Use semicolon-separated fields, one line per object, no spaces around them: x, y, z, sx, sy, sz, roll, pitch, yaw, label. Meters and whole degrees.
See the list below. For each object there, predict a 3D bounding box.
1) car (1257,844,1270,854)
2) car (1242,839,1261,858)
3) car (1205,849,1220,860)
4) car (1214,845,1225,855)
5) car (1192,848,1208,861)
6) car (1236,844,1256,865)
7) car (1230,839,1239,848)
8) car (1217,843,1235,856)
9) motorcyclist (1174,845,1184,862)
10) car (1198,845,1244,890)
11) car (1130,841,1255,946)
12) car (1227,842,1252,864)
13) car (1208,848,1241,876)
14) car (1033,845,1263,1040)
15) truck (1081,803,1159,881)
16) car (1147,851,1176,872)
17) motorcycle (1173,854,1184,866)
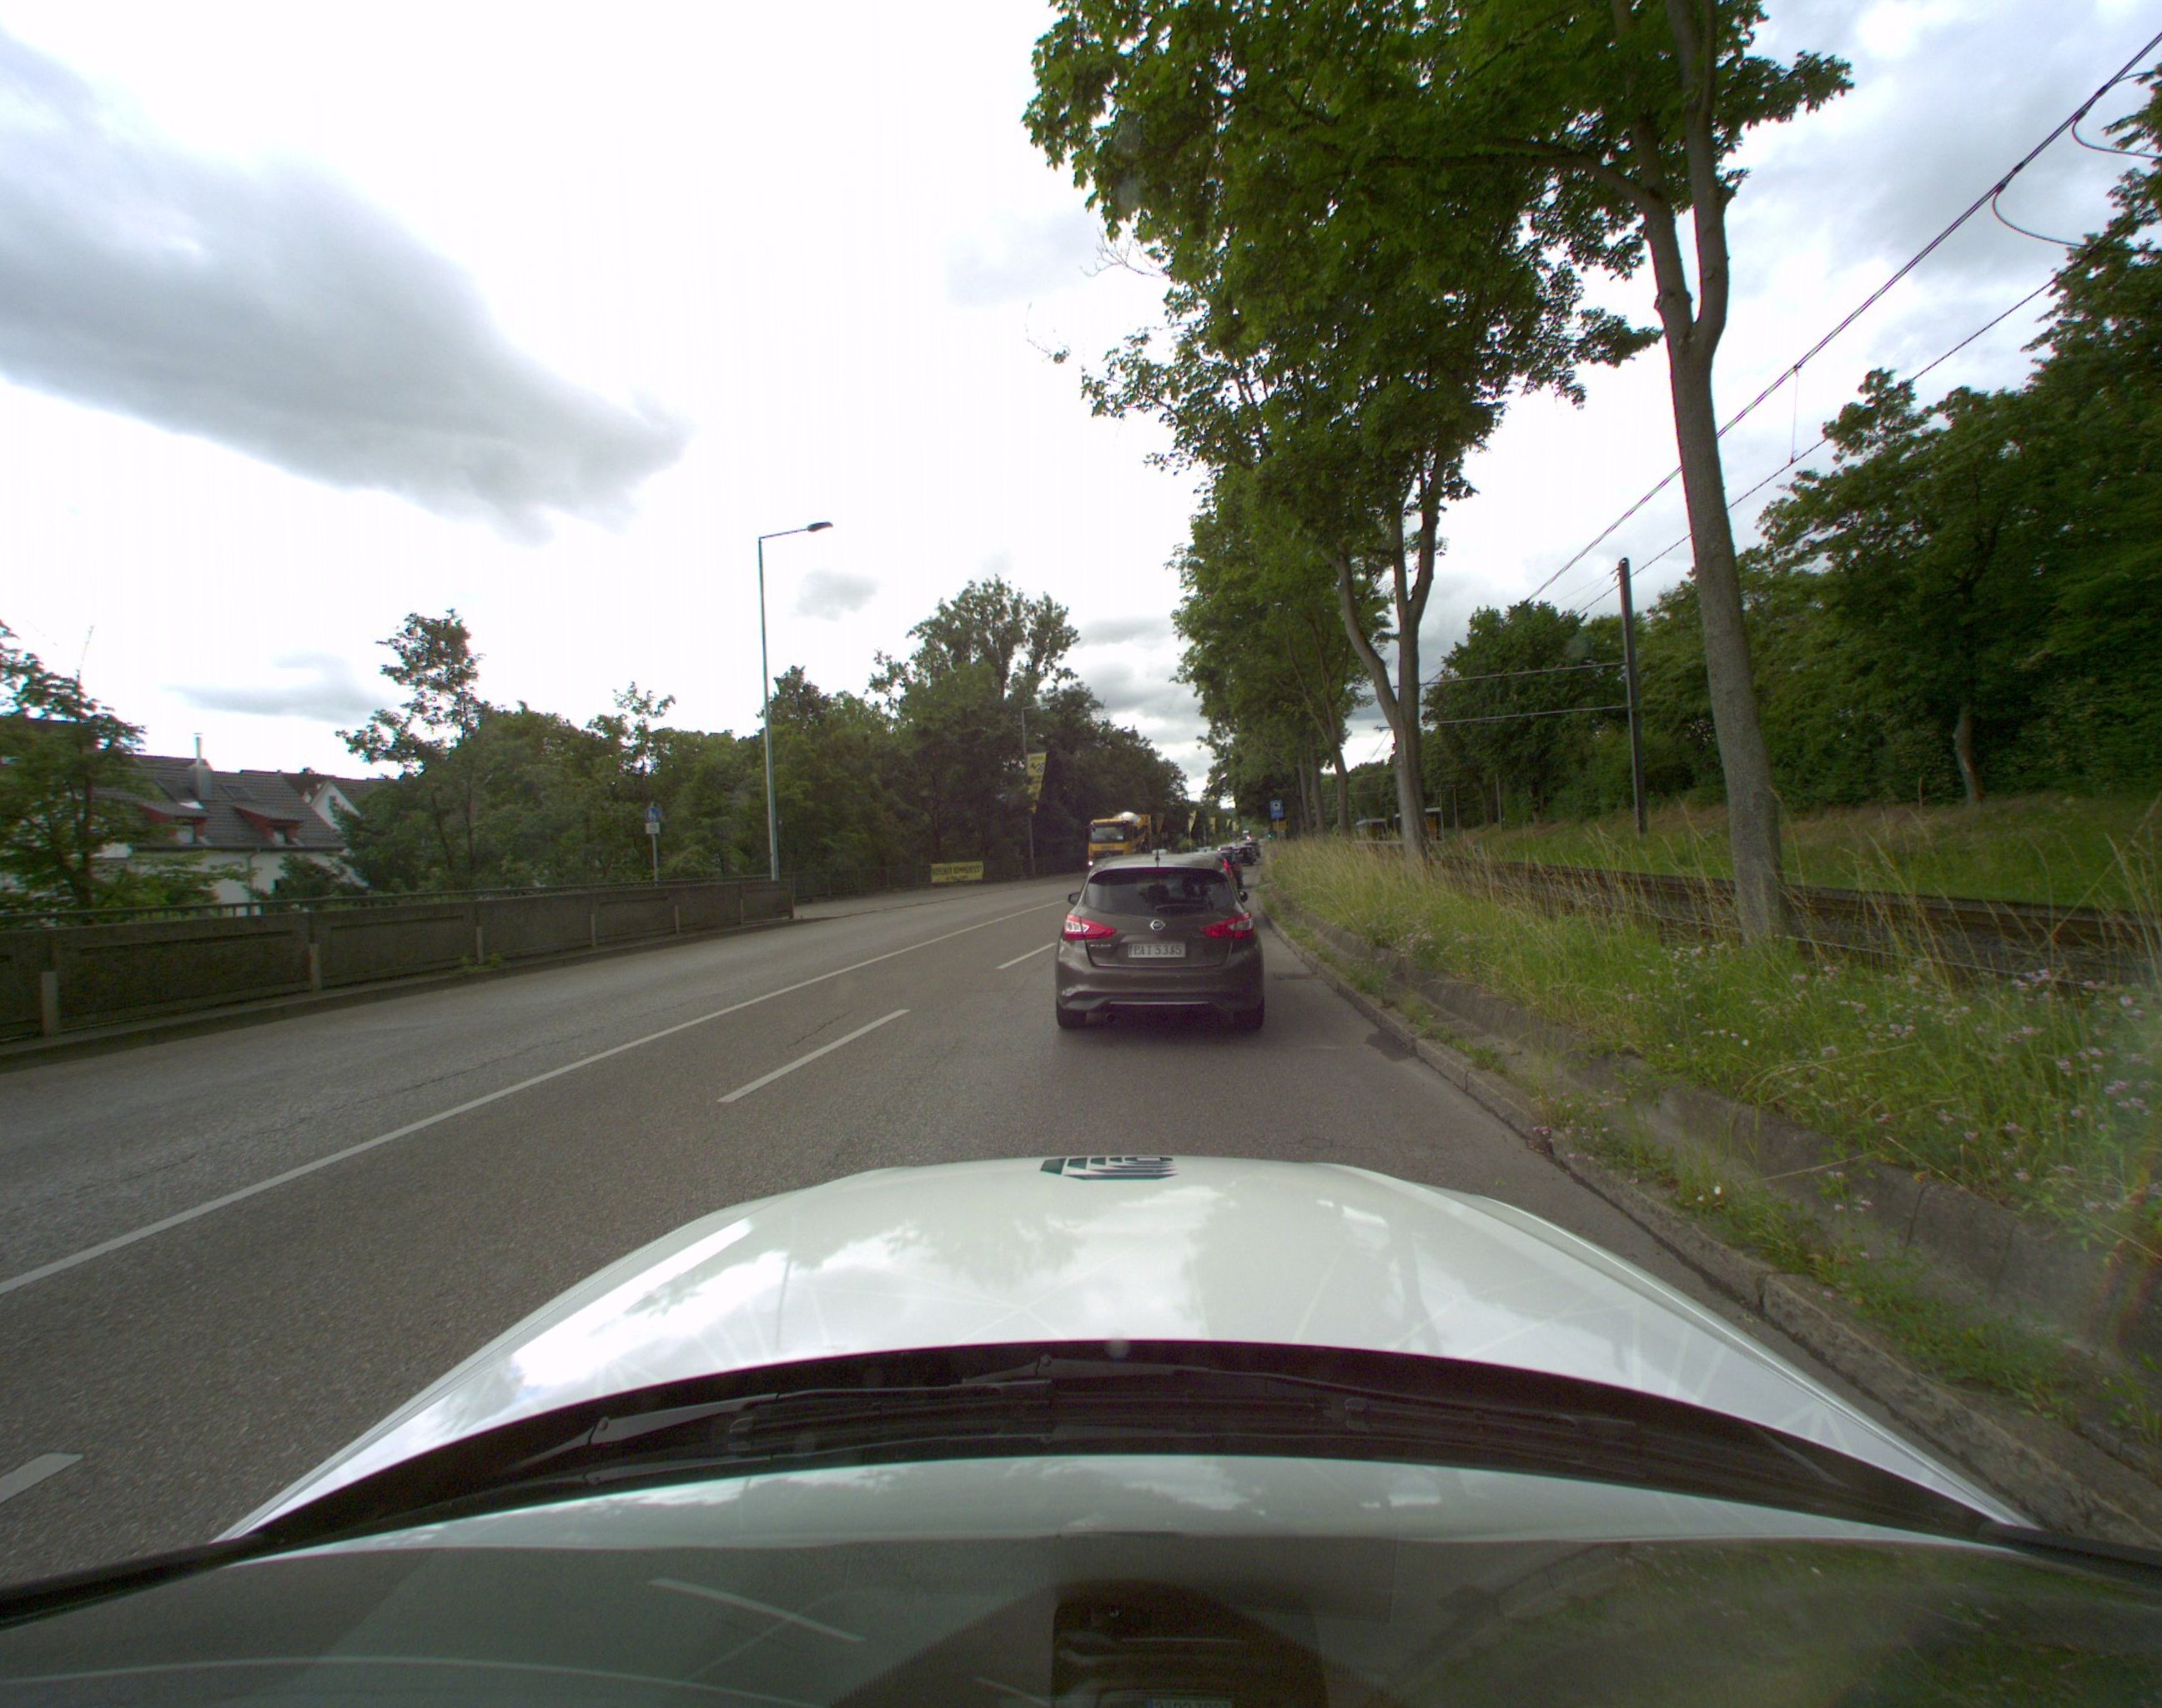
28.234;-0.843;125.984;1.877;1.445;3.821;-2;0;13;car
19.289;-0.648;91.969;1.877;2.013;4.015;-2;0;13;car
18.511;0.088;114.519;1.805;1.462;4.014;-3;0;13;car
24.161;-0.718;141.825;1.740;1.420;4.012;-3;-2;12;car
14.932;0.061;102.028;1.709;1.442;4.013;-3;-2;12;car
15.291;0.085;75.314;1.707;1.693;4.013;-3;-2;12;car
33.061;-2.147;175.097;1.707;1.693;3.737;-3;-2;12;car
18.125;-0.553;101.412;1.838;1.486;4.437;-3;-1;14;car
9.048;-0.037;75.429;0.739;1.539;0.794;-2;0;14;motorcyclist
5.391;0.497;31.537;1.568;1.538;4.010;-3;-1;9;car
1.930;0.655;14.623;1.883;1.574;4.006;-2;-1;6;car
12.125;-0.058;62.174;1.792;1.540;4.013;-1;-1;12;car
7.751;0.413;43.821;1.490;1.364;3.599;-3;-1;12;car
0.767;0.725;8.343;1.765;1.494;4.008;-1;-1;7;car
2.472;-0.638;47.047;2.636;3.938;10.147;-2;0;13;truck
6.163;0.567;62.032;1.755;1.479;4.013;-2;0;12;car
9.049;0.514;75.370;0.739;1.033;1.895;-2;0;14;motorcycle
